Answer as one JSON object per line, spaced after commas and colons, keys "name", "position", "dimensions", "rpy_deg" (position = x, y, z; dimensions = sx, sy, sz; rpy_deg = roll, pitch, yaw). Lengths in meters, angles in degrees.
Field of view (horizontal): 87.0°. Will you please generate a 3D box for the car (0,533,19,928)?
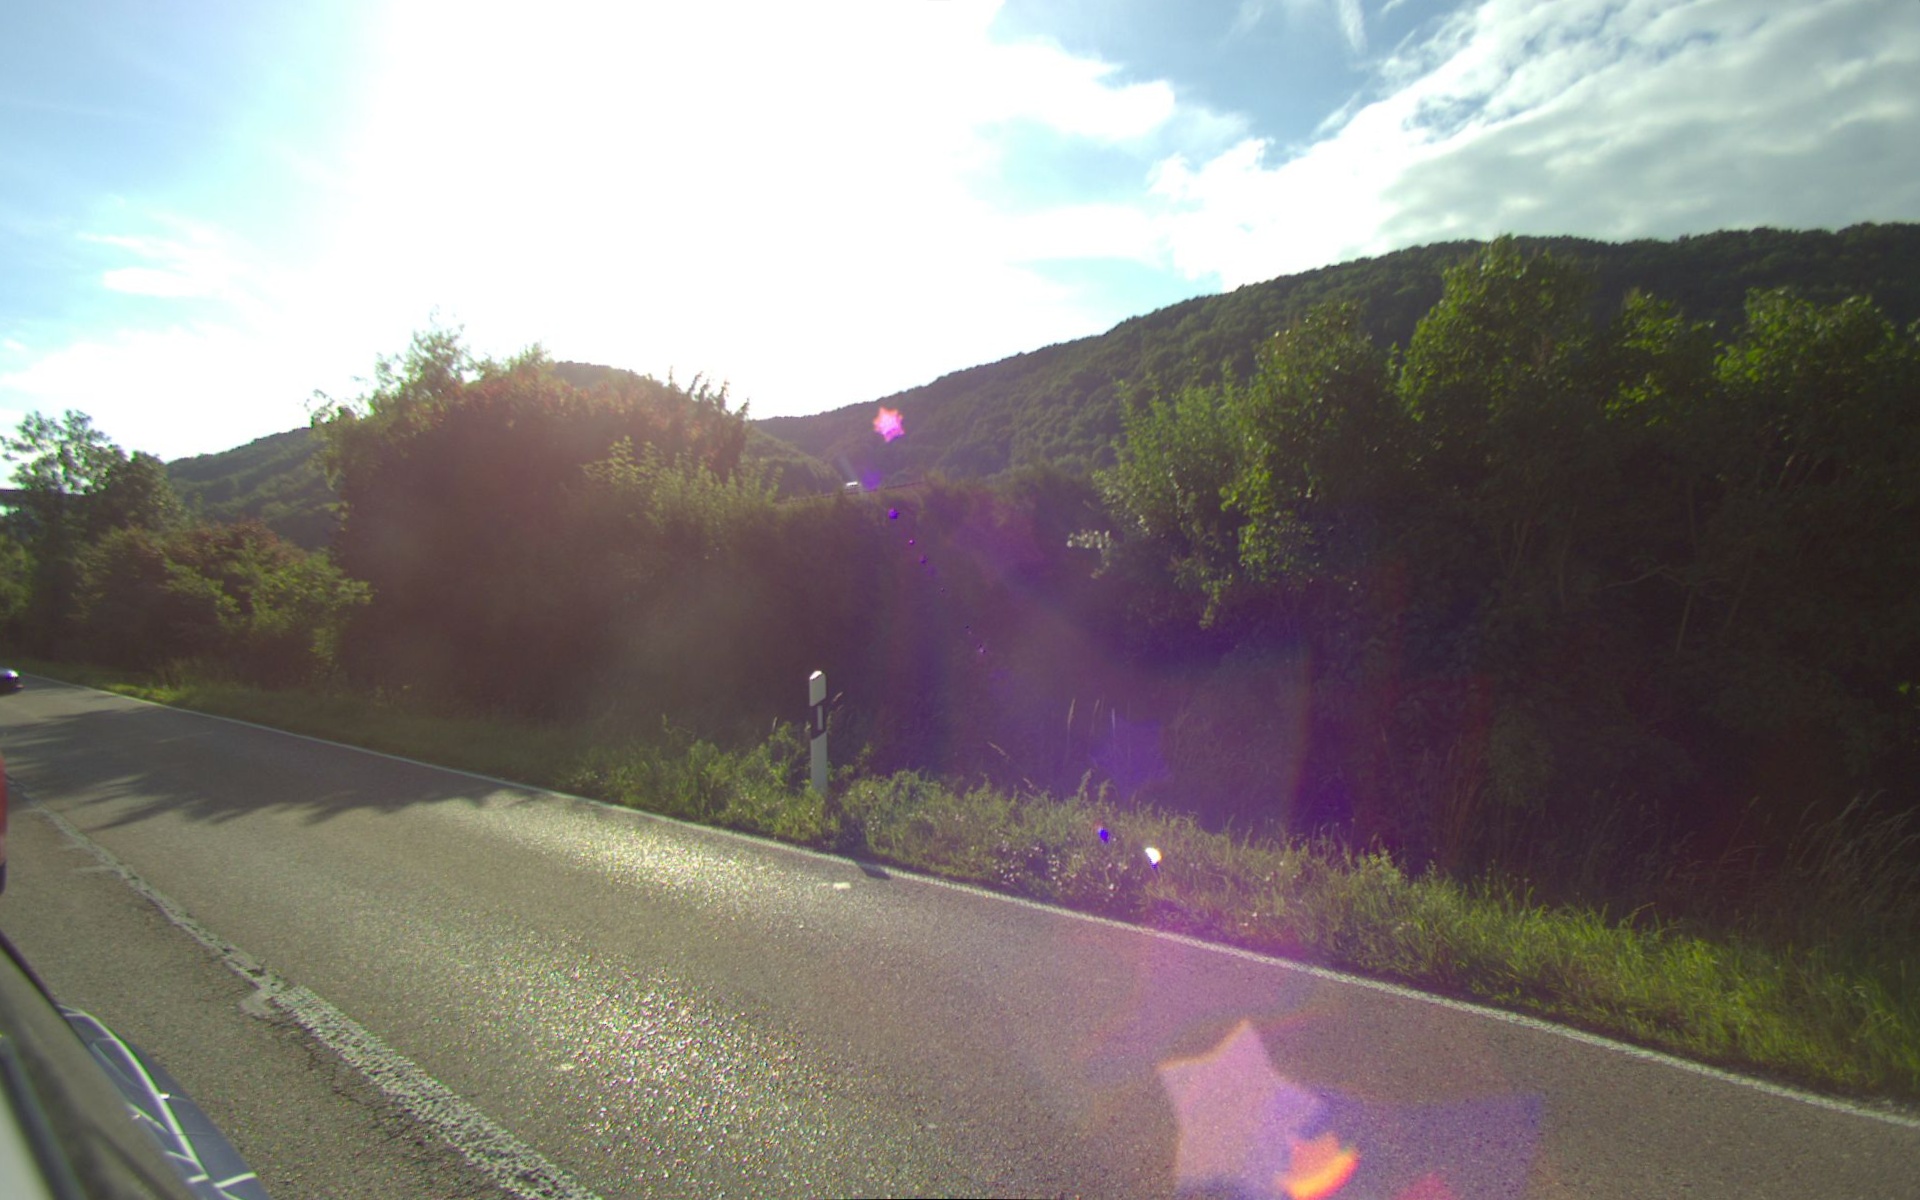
{"name": "car", "position": [-6.592, 0.659, 5.466], "dimensions": [4.286, 1.823, 1.731], "rpy_deg": [-1, 1, 41]}
